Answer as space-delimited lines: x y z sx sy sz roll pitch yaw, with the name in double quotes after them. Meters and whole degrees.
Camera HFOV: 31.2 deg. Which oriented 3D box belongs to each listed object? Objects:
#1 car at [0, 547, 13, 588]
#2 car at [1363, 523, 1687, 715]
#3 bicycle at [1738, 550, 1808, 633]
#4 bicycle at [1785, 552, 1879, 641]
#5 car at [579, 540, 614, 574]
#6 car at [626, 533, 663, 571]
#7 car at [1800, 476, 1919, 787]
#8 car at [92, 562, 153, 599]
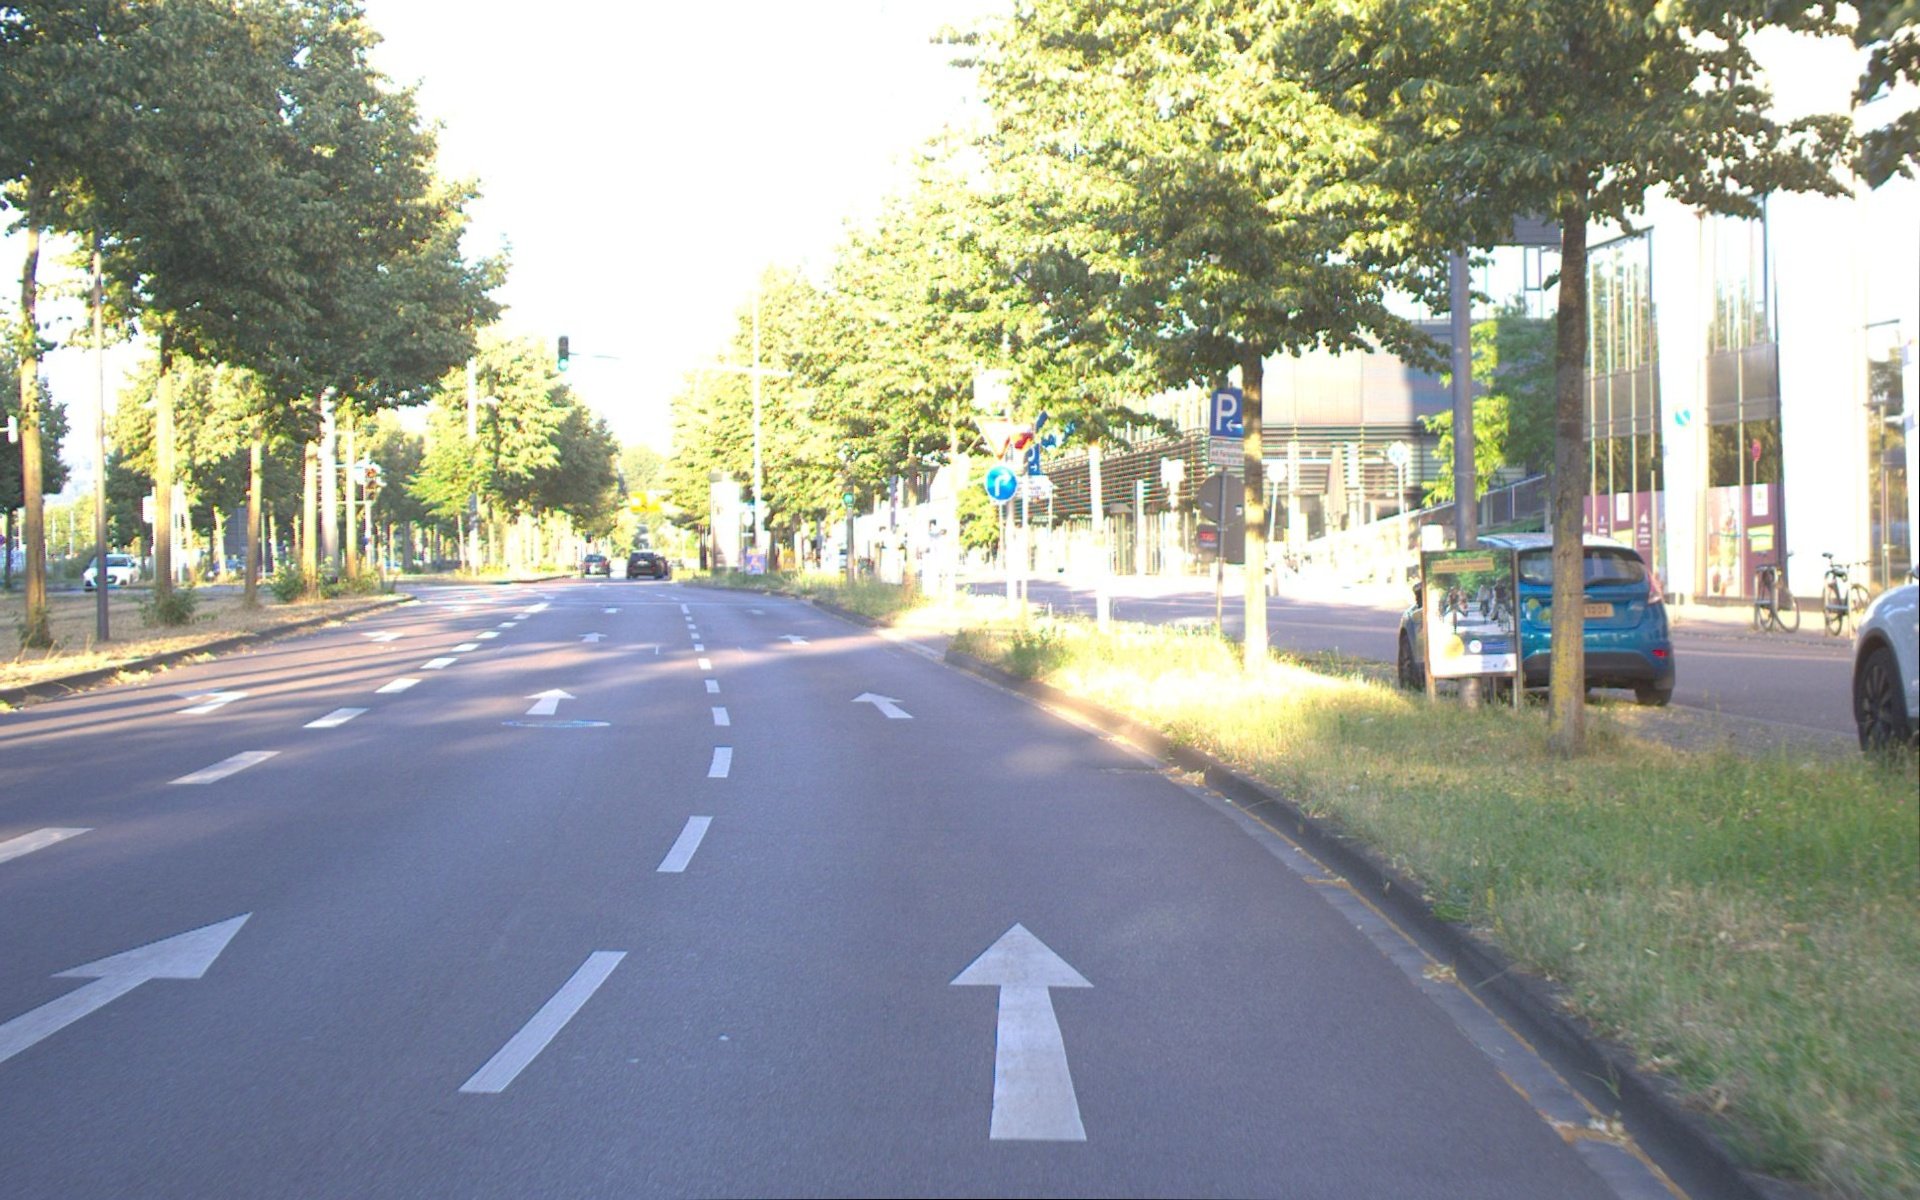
-31.833 -1.035 111.098 1.656 1.327 4.586 0 1 -6 "car"
4.801 0.117 29.799 1.724 1.524 4.269 1 1 -5 "car"
10.843 -0.125 45.890 0.446 1.069 1.774 -3 1 -1 "bicycle"
10.928 -0.055 43.131 0.518 1.057 1.961 -3 1 -3 "bicycle"
-21.894 -2.604 207.229 2.087 2.007 4.001 0 1 -6 "car"
-17.369 -2.652 189.073 1.993 2.007 4.001 0 1 -6 "car"
6.278 0.196 18.456 1.951 1.708 5.159 1 1 -4 "car"
-31.836 -0.748 130.726 1.786 1.327 3.672 -1 1 -6 "car"
